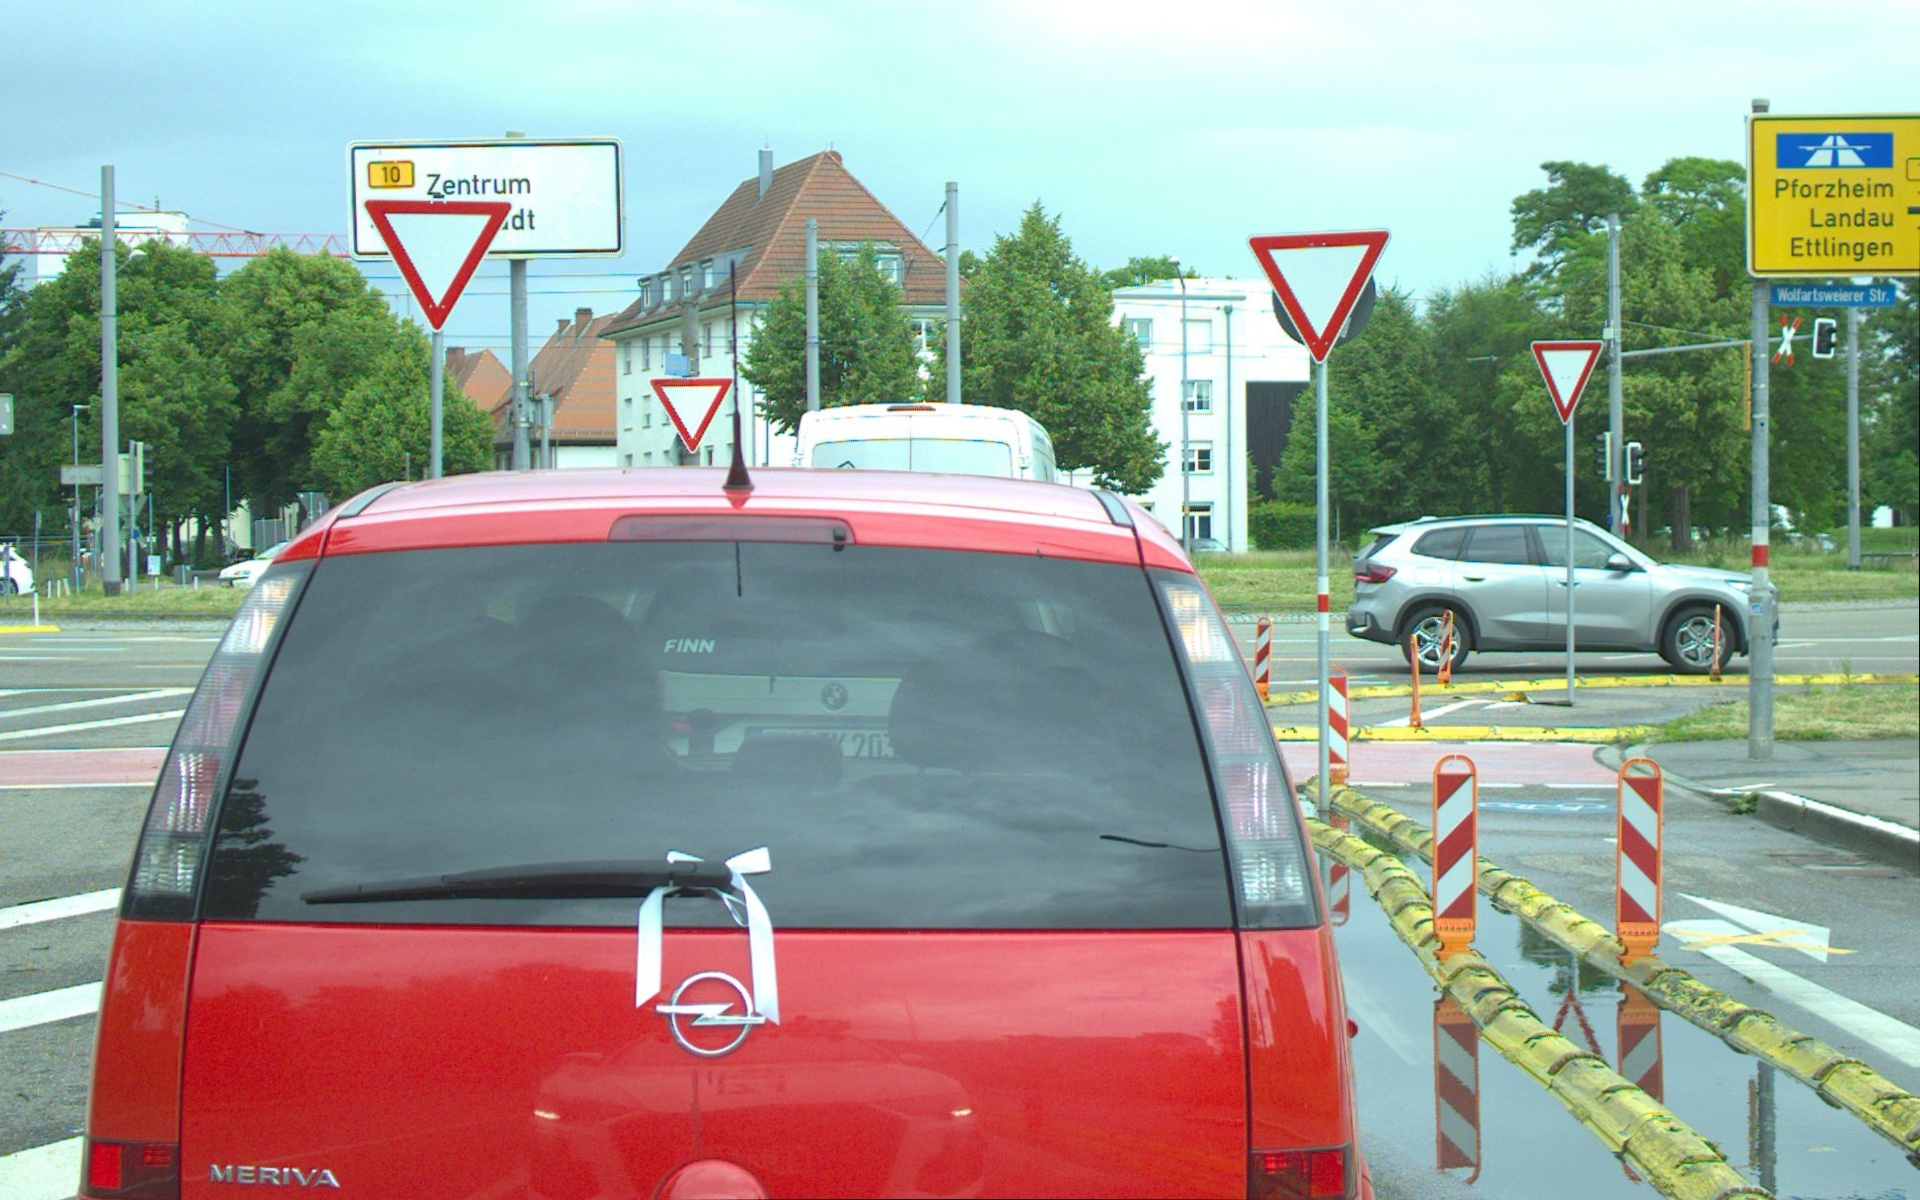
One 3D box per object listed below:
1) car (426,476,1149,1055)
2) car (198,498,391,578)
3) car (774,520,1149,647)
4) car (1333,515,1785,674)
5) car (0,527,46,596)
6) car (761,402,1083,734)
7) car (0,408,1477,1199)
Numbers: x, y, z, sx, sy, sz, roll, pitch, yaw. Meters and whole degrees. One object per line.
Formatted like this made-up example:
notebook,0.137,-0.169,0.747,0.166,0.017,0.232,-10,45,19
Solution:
car,-0.525,0.430,12.187,2.059,1.642,4.607,1,1,-1
car,-17.155,-1.612,88.764,4.467,2.007,1.999,-2,1,-40
car,0.061,-0.207,41.647,4.309,1.459,2.000,-1,1,7
car,6.219,-0.071,36.157,4.518,1.577,2.000,-1,1,5
car,-24.001,-0.882,80.620,1.998,1.629,4.665,0,1,39
car,-0.209,-0.300,28.957,2.195,2.531,4.961,1,1,5
car,-0.317,0.584,5.488,1.673,1.635,3.627,1,1,-1
